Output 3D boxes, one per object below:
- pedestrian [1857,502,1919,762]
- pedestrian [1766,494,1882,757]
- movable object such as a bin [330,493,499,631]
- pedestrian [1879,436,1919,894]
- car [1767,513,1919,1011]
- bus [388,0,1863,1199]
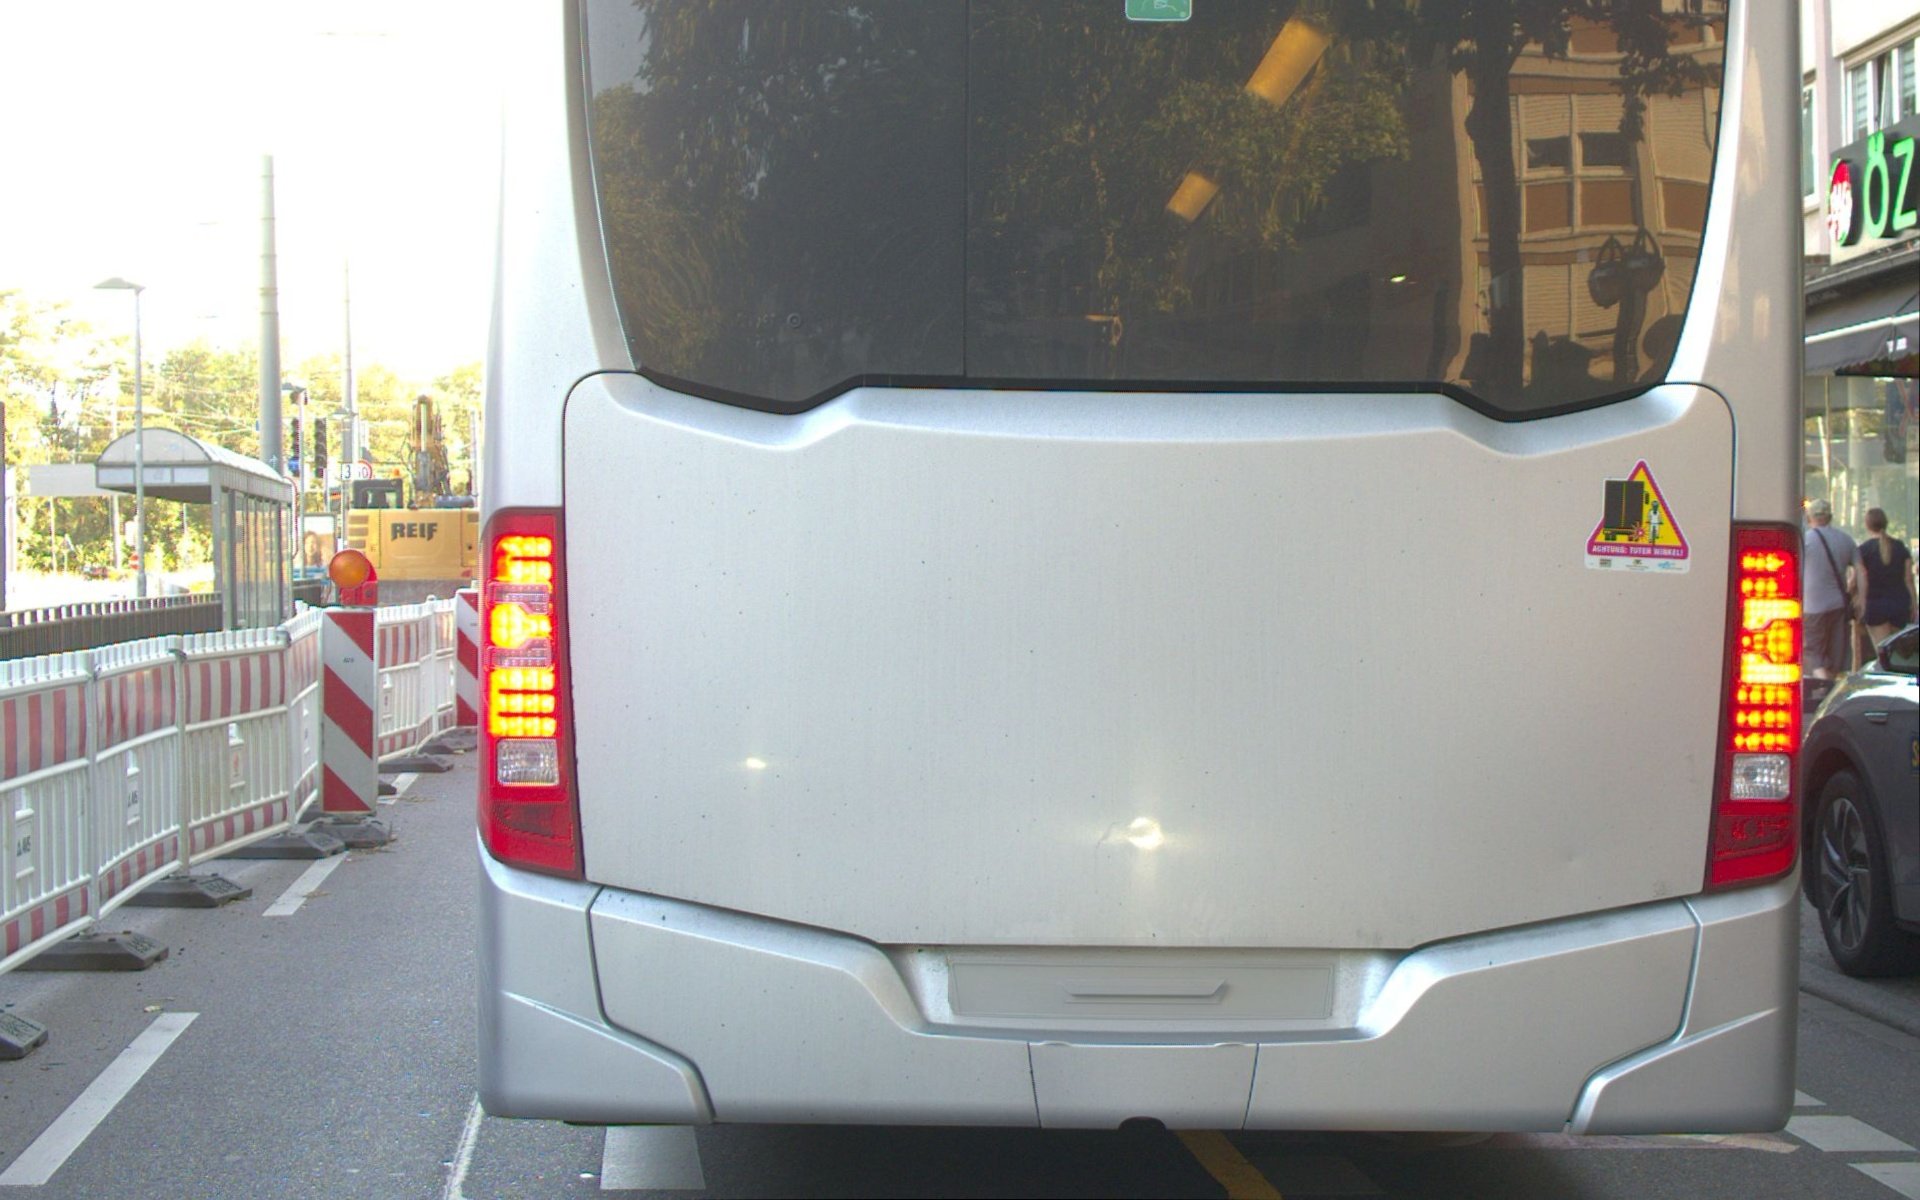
[{"bbox_3d":[7.440,0.241,26.901,0.612,2.007,0.696,-1,0,-3],"label":"pedestrian"},{"bbox_3d":[6.697,0.191,26.673,0.690,2.007,0.696,-1,0,-2],"label":"pedestrian"},{"bbox_3d":[-10.049,-0.713,63.658,2.806,2.453,4.001,-1,1,-5],"label":"movable object such as a bin"},{"bbox_3d":[4.573,0.276,15.119,0.769,2.007,0.714,-2,0,-4],"label":"pedestrian"},{"bbox_3d":[3.996,0.495,10.291,1.739,1.592,4.300,-3,1,-5],"label":"car"},{"bbox_3d":[0.267,-0.284,11.235,2.608,3.159,10.292,0,1,0],"label":"bus"}]
